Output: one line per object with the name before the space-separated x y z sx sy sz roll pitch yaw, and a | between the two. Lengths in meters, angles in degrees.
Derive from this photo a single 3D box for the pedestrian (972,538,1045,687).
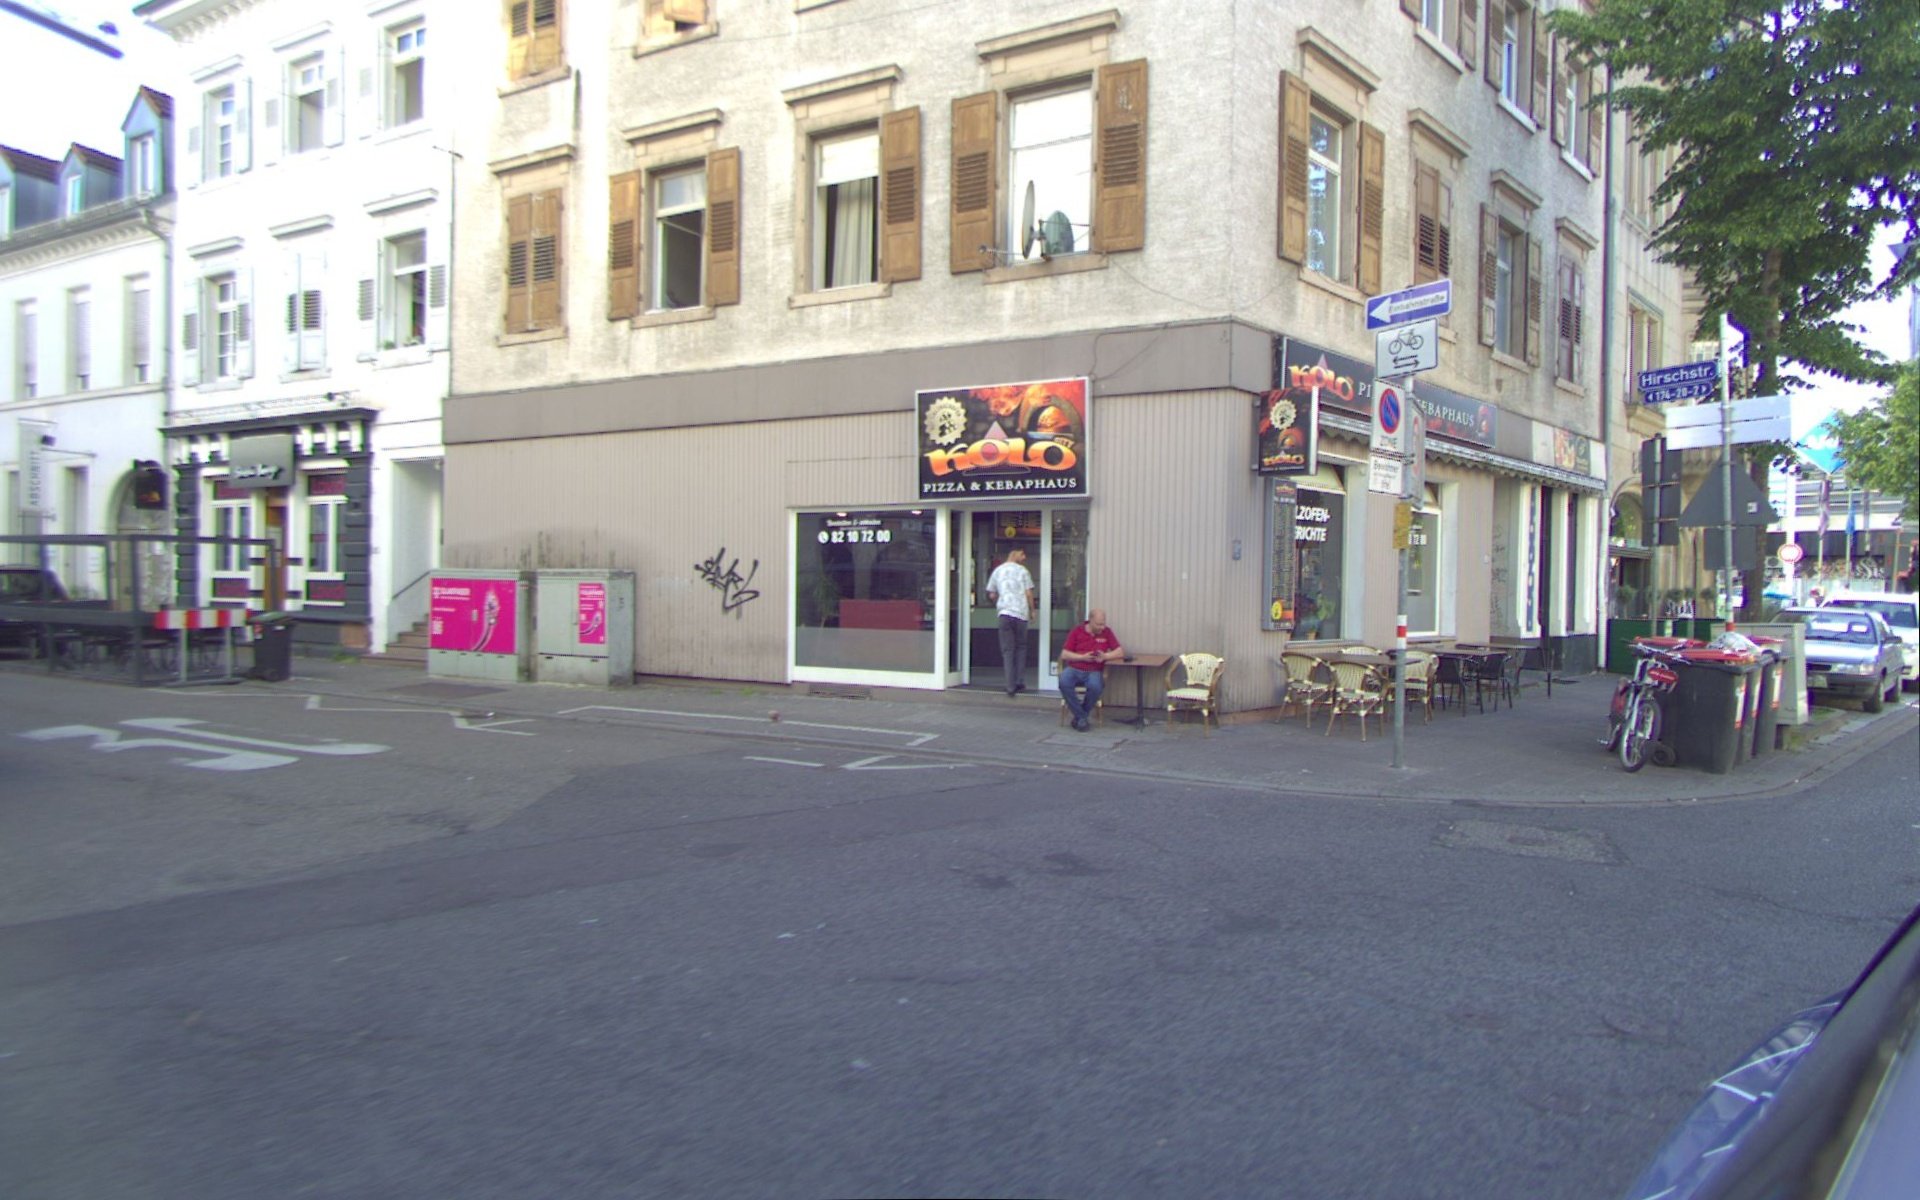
pedestrian | 0.582 0.121 12.070 0.787 1.717 0.706 0 2 11

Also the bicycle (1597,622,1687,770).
bicycle | 6.282 0.832 9.383 0.374 1.159 1.660 2 2 24

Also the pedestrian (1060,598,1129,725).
pedestrian | 1.435 0.637 10.773 0.701 1.274 0.589 0 2 11

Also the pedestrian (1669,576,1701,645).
pedestrian | 15.606 0.220 21.771 0.512 1.461 0.460 0 0 -42

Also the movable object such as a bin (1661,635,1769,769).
movable object such as a bin | 6.817 0.896 9.146 0.591 1.081 0.635 -2 3 -39

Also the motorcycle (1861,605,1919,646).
motorcycle | 27.216 0.735 28.484 2.638 1.091 0.951 1 1 35

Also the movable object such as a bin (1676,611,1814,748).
movable object such as a bin | 7.855 0.757 10.143 0.686 1.229 0.944 -1 2 -39

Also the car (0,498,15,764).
car | -9.403 0.163 7.464 4.444 1.941 1.926 2 0 23

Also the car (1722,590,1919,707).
car | 13.089 0.631 15.189 4.087 1.436 1.834 0 2 -42

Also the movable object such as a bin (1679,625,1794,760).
movable object such as a bin | 7.315 0.839 9.540 0.591 1.170 0.721 1 0 -38

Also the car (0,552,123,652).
car | -17.416 -0.012 18.400 4.012 1.665 1.924 2 0 27

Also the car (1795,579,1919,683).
car | 16.907 0.510 18.481 4.086 1.671 1.834 0 2 -41
